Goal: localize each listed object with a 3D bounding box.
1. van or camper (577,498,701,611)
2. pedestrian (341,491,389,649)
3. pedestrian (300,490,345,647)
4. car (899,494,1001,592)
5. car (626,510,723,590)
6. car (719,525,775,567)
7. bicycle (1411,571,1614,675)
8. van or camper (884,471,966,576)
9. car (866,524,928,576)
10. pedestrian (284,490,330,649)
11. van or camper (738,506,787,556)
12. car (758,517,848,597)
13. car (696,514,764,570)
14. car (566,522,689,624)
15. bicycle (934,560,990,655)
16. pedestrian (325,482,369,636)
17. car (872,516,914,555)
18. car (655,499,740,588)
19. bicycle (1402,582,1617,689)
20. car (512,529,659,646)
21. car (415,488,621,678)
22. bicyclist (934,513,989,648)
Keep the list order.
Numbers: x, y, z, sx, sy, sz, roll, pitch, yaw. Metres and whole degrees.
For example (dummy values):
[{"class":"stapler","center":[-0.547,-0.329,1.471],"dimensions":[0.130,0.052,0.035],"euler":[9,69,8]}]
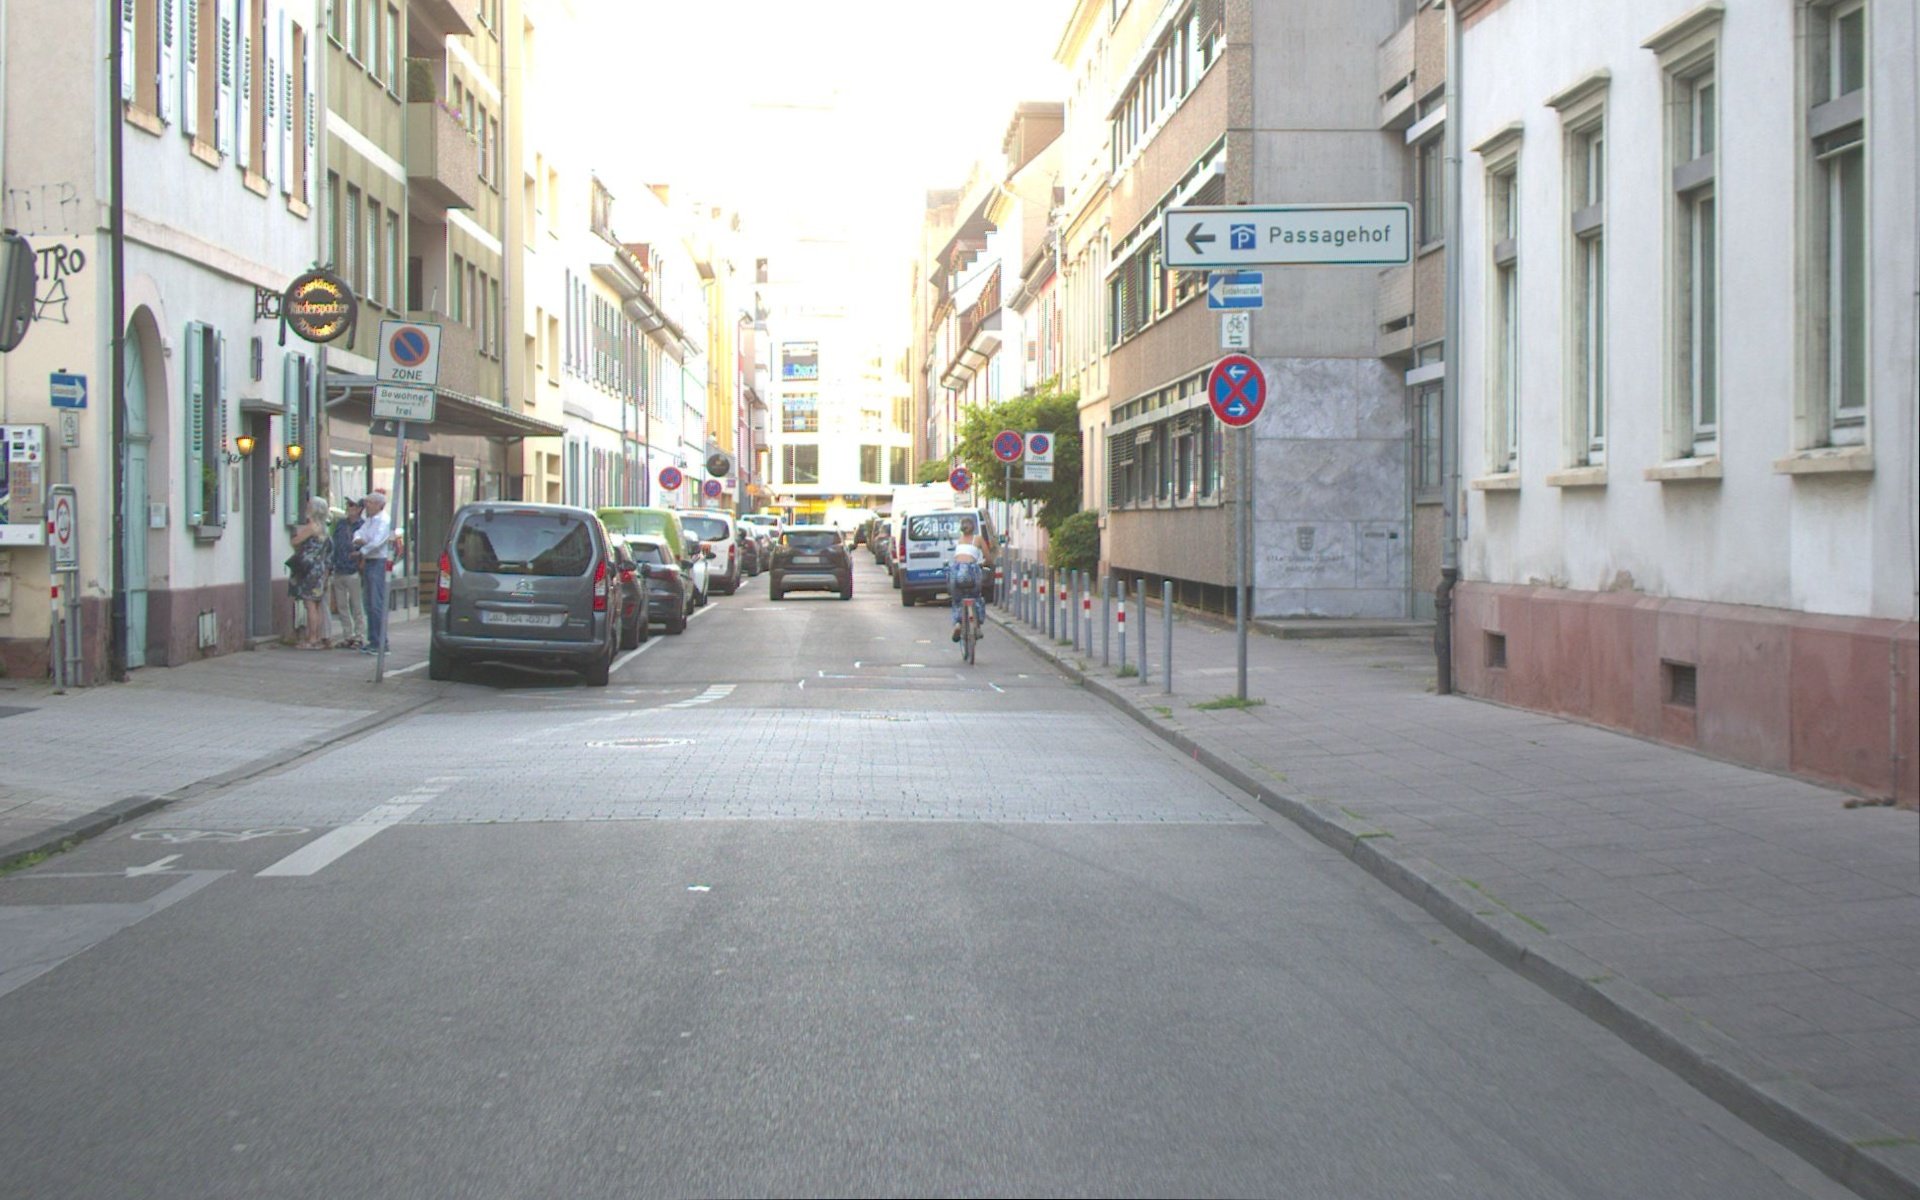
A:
[{"class":"van or camper","center":[-5.413,-0.788,58.370],"dimensions":[1.772,1.842,4.179],"euler":[0,1,-1]},{"class":"pedestrian","center":[-6.623,-0.341,38.282],"dimensions":[0.449,1.744,0.470],"euler":[1,1,0]},{"class":"pedestrian","center":[-7.138,-0.351,38.511],"dimensions":[0.406,1.744,0.470],"euler":[1,1,0]},{"class":"car","center":[-0.242,-1.171,69.357],"dimensions":[1.936,1.891,5.277],"euler":[0,1,-1]},{"class":"car","center":[-5.608,-0.989,67.785],"dimensions":[1.662,1.444,3.521],"euler":[3,1,-2]},{"class":"car","center":[-7.577,-1.946,122.445],"dimensions":[1.918,1.429,4.294],"euler":[1,1,-3]},{"class":"bicycle","center":[5.041,0.209,31.386],"dimensions":[1.739,0.920,0.538],"euler":[1,1,-8]},{"class":"van or camper","center":[-0.920,-1.990,89.357],"dimensions":[2.050,2.628,7.063],"euler":[0,1,-1]},{"class":"car","center":[-1.974,-1.603,109.015],"dimensions":[1.819,1.525,5.071],"euler":[-3,1,0]},{"class":"pedestrian","center":[-7.213,-0.342,37.982],"dimensions":[0.406,1.744,0.470],"euler":[1,1,0]},{"class":"van or camper","center":[-8.294,-2.900,144.621],"dimensions":[1.844,2.006,4.679],"euler":[1,1,-2]},{"class":"car","center":[-3.345,-0.933,73.639],"dimensions":[1.819,1.612,4.001],"euler":[1,1,-2]},{"class":"car","center":[-6.980,-1.788,104.707],"dimensions":[1.802,1.671,4.490],"euler":[0,1,0]},{"class":"car","center":[-4.831,-0.420,50.334],"dimensions":[1.624,1.411,3.981],"euler":[1,1,-3]},{"class":"bicycle","center":[0.015,0.078,40.530],"dimensions":[0.613,1.078,1.809],"euler":[1,1,-1]},{"class":"pedestrian","center":[-6.973,-0.470,39.129],"dimensions":[0.406,1.744,0.470],"euler":[1,1,0]},{"class":"car","center":[-2.717,-2.622,139.444],"dimensions":[1.653,1.555,3.606],"euler":[1,1,-2]},{"class":"car","center":[-6.090,-1.345,80.263],"dimensions":[1.862,2.007,5.107],"euler":[0,1,-3]},{"class":"bicycle","center":[4.884,0.313,30.568],"dimensions":[1.795,0.920,0.538],"euler":[0,1,-9]},{"class":"car","center":[-4.901,-0.194,45.363],"dimensions":[1.624,1.479,3.878],"euler":[0,1,-2]},{"class":"car","center":[-4.488,-0.214,35.452],"dimensions":[1.876,1.805,4.452],"euler":[1,1,-5]},{"class":"bicyclist","center":[0.016,-0.238,40.533],"dimensions":[0.621,1.569,0.684],"euler":[1,1,-1]}]
